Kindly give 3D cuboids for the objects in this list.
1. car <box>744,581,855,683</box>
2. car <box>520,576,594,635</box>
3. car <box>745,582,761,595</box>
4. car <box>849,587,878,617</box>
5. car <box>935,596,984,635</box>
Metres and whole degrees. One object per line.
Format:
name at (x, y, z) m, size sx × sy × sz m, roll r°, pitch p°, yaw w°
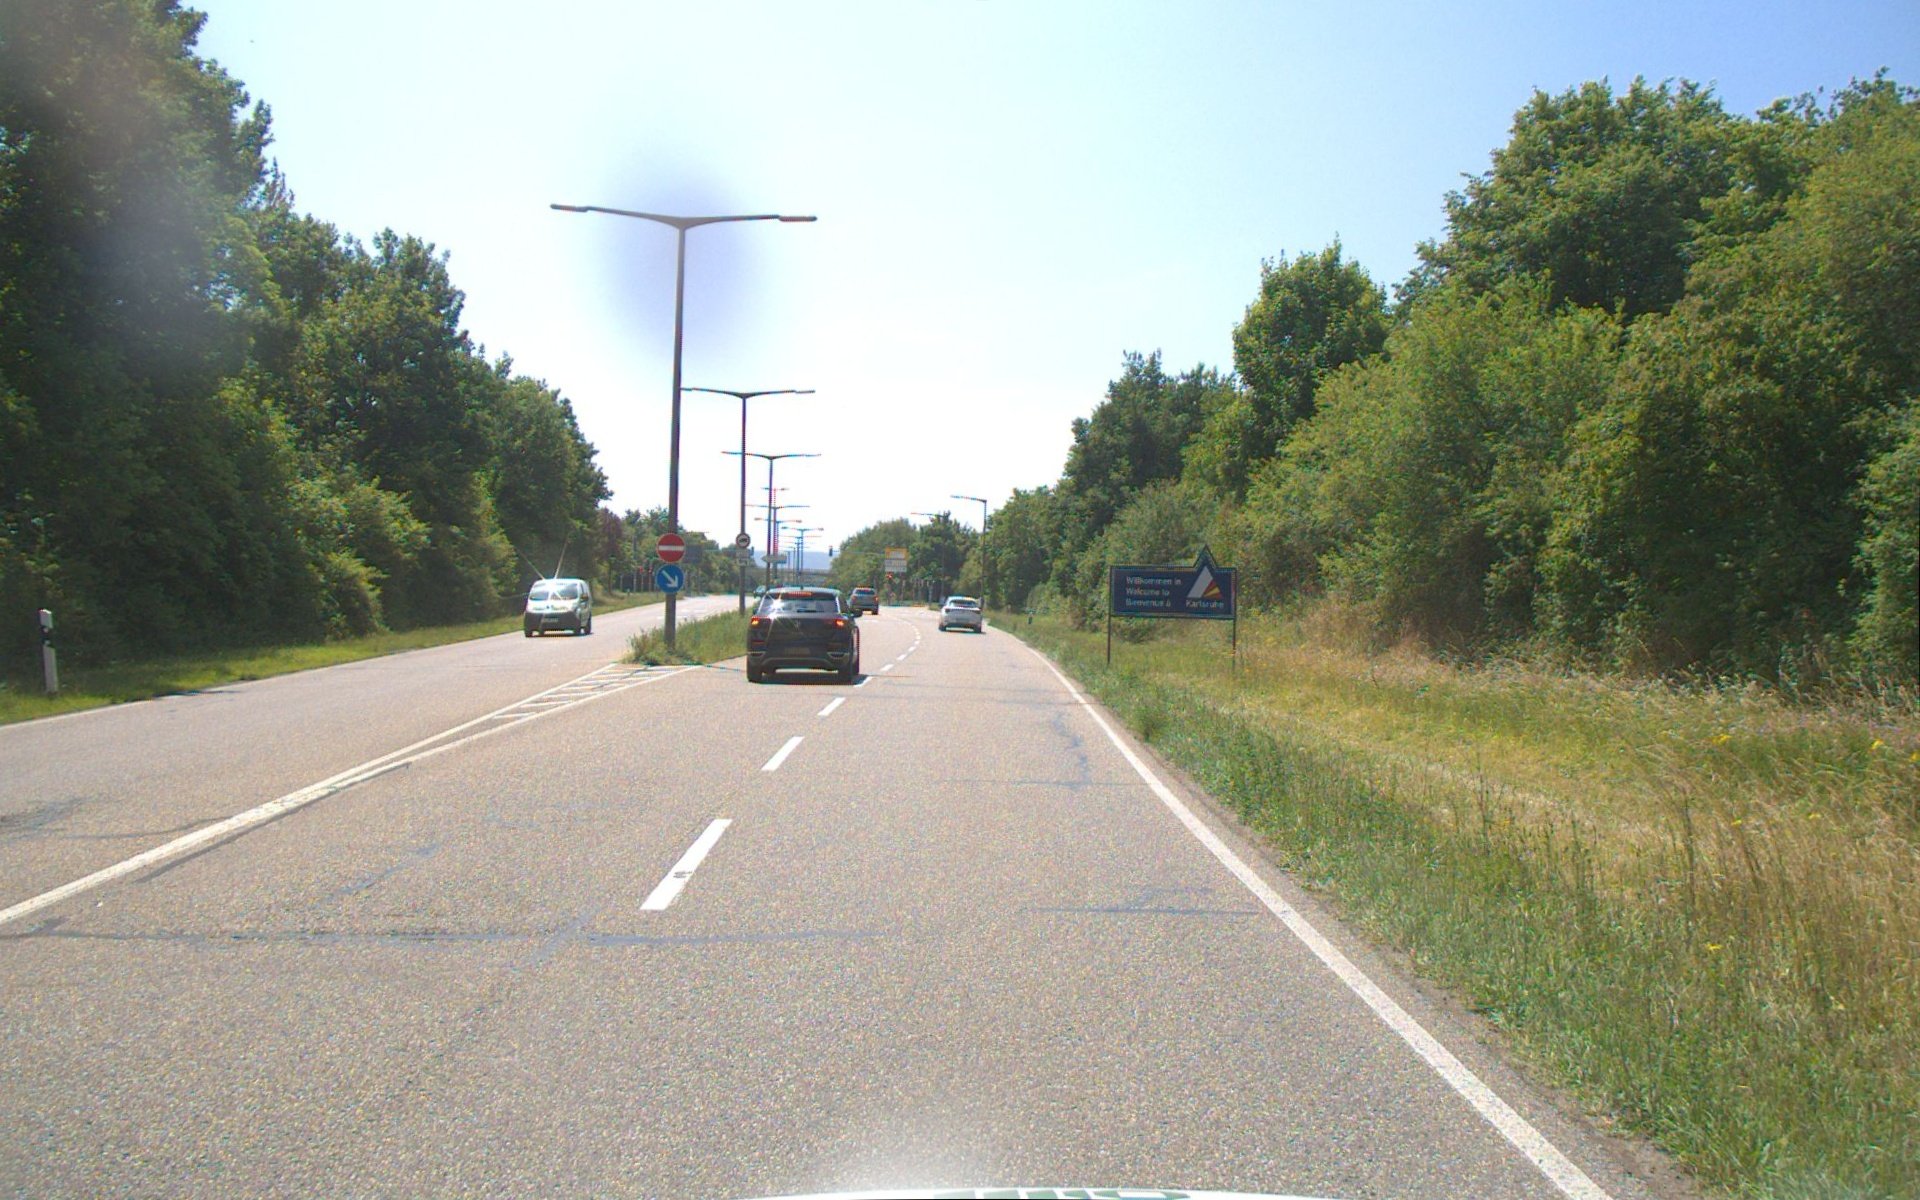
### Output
car at (-2.714, 0.513, 28.541) m, size 1.721 × 1.583 × 3.996 m, roll 2°, pitch 0°, yaw -4°
car at (-12.499, 0.149, 51.508) m, size 1.698 × 1.717 × 4.090 m, roll -1°, pitch 1°, yaw -6°
car at (-27.859, -1.538, 222.807) m, size 1.792 × 1.545 × 3.997 m, roll 2°, pitch 0°, yaw -4°
car at (-6.461, 0.132, 110.568) m, size 1.721 × 1.962 × 3.995 m, roll 2°, pitch 0°, yaw -6°
car at (-0.051, 0.645, 70.332) m, size 1.762 × 1.611 × 3.996 m, roll 0°, pitch 0°, yaw -5°
